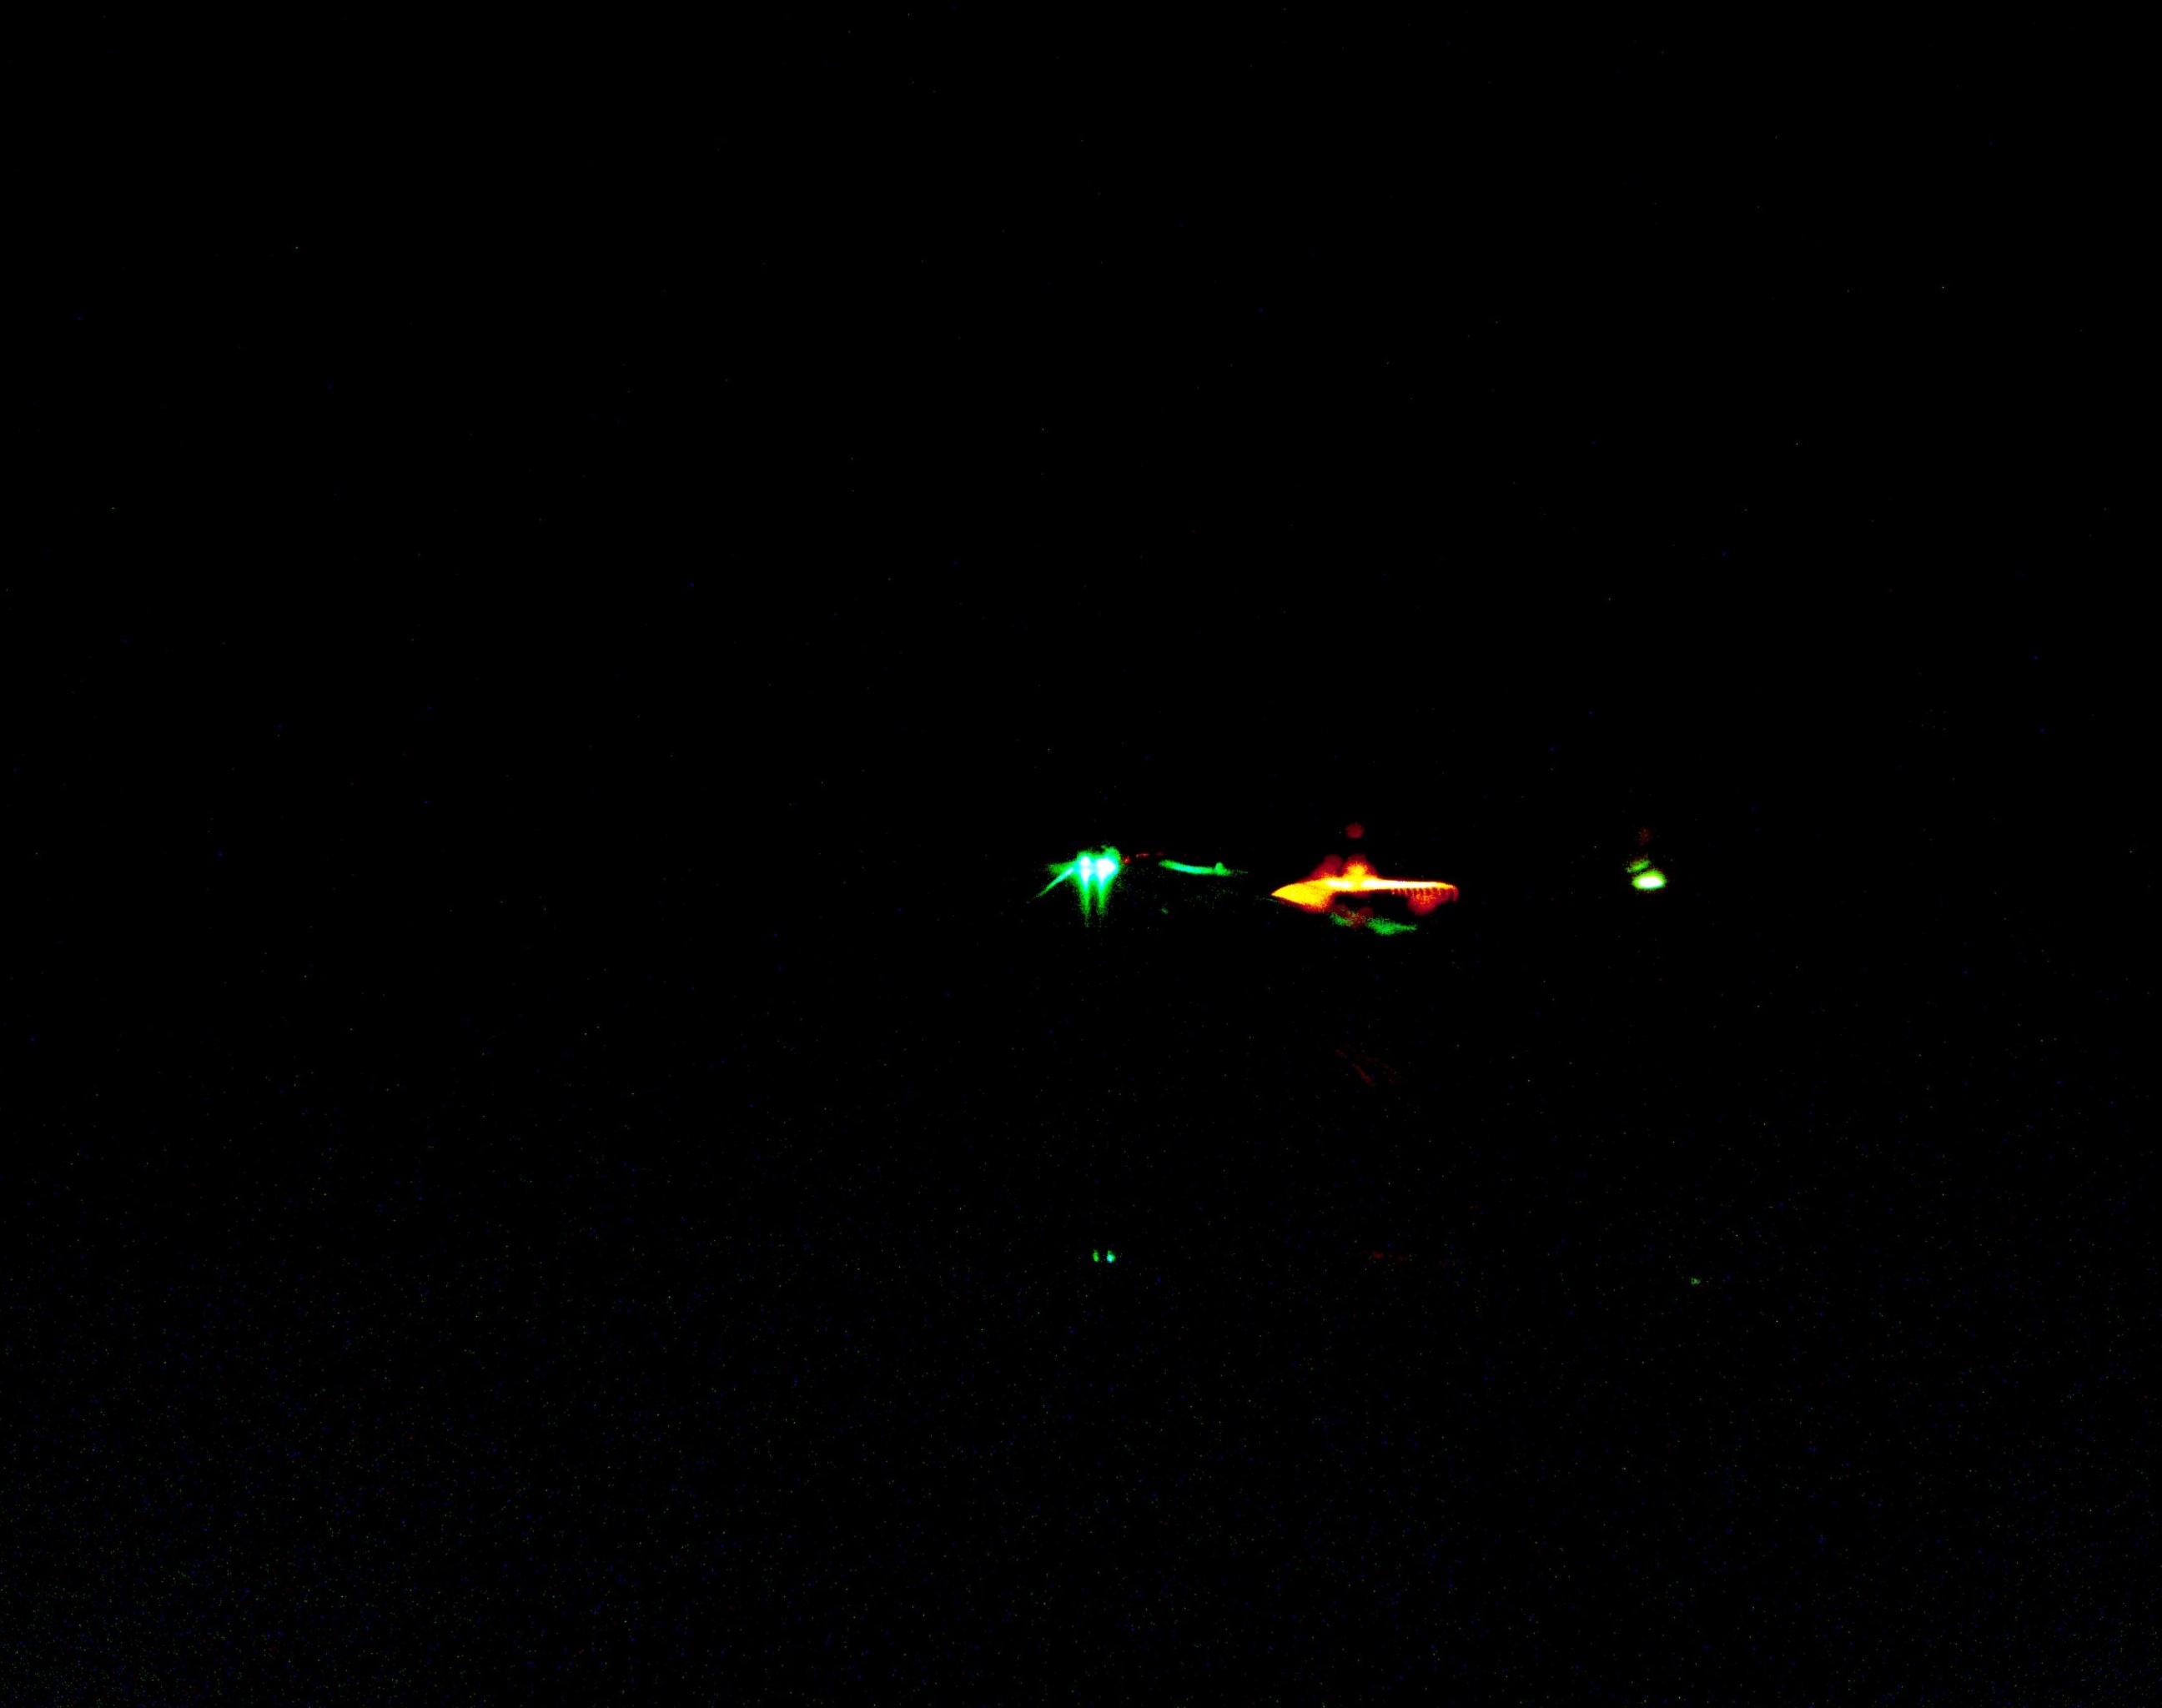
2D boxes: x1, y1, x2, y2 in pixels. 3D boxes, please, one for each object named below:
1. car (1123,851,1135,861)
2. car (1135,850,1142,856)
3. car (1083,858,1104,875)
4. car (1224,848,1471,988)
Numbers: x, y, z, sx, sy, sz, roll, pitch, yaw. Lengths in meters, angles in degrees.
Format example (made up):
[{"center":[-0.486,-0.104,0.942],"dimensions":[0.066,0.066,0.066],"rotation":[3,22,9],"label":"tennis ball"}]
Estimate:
[{"center":[8.017,0.290,127.162],"dimensions":[1.834,1.559,3.780],"rotation":[0,0,2],"label":"car"},{"center":[16.735,-0.341,219.633],"dimensions":[1.998,1.812,4.001],"rotation":[0,1,4],"label":"car"},{"center":[1.398,1.324,82.534],"dimensions":[1.998,1.724,4.001],"rotation":[1,0,5],"label":"car"},{"center":[3.537,0.735,11.112],"dimensions":[2.102,1.630,4.455],"rotation":[0,0,1],"label":"car"}]
